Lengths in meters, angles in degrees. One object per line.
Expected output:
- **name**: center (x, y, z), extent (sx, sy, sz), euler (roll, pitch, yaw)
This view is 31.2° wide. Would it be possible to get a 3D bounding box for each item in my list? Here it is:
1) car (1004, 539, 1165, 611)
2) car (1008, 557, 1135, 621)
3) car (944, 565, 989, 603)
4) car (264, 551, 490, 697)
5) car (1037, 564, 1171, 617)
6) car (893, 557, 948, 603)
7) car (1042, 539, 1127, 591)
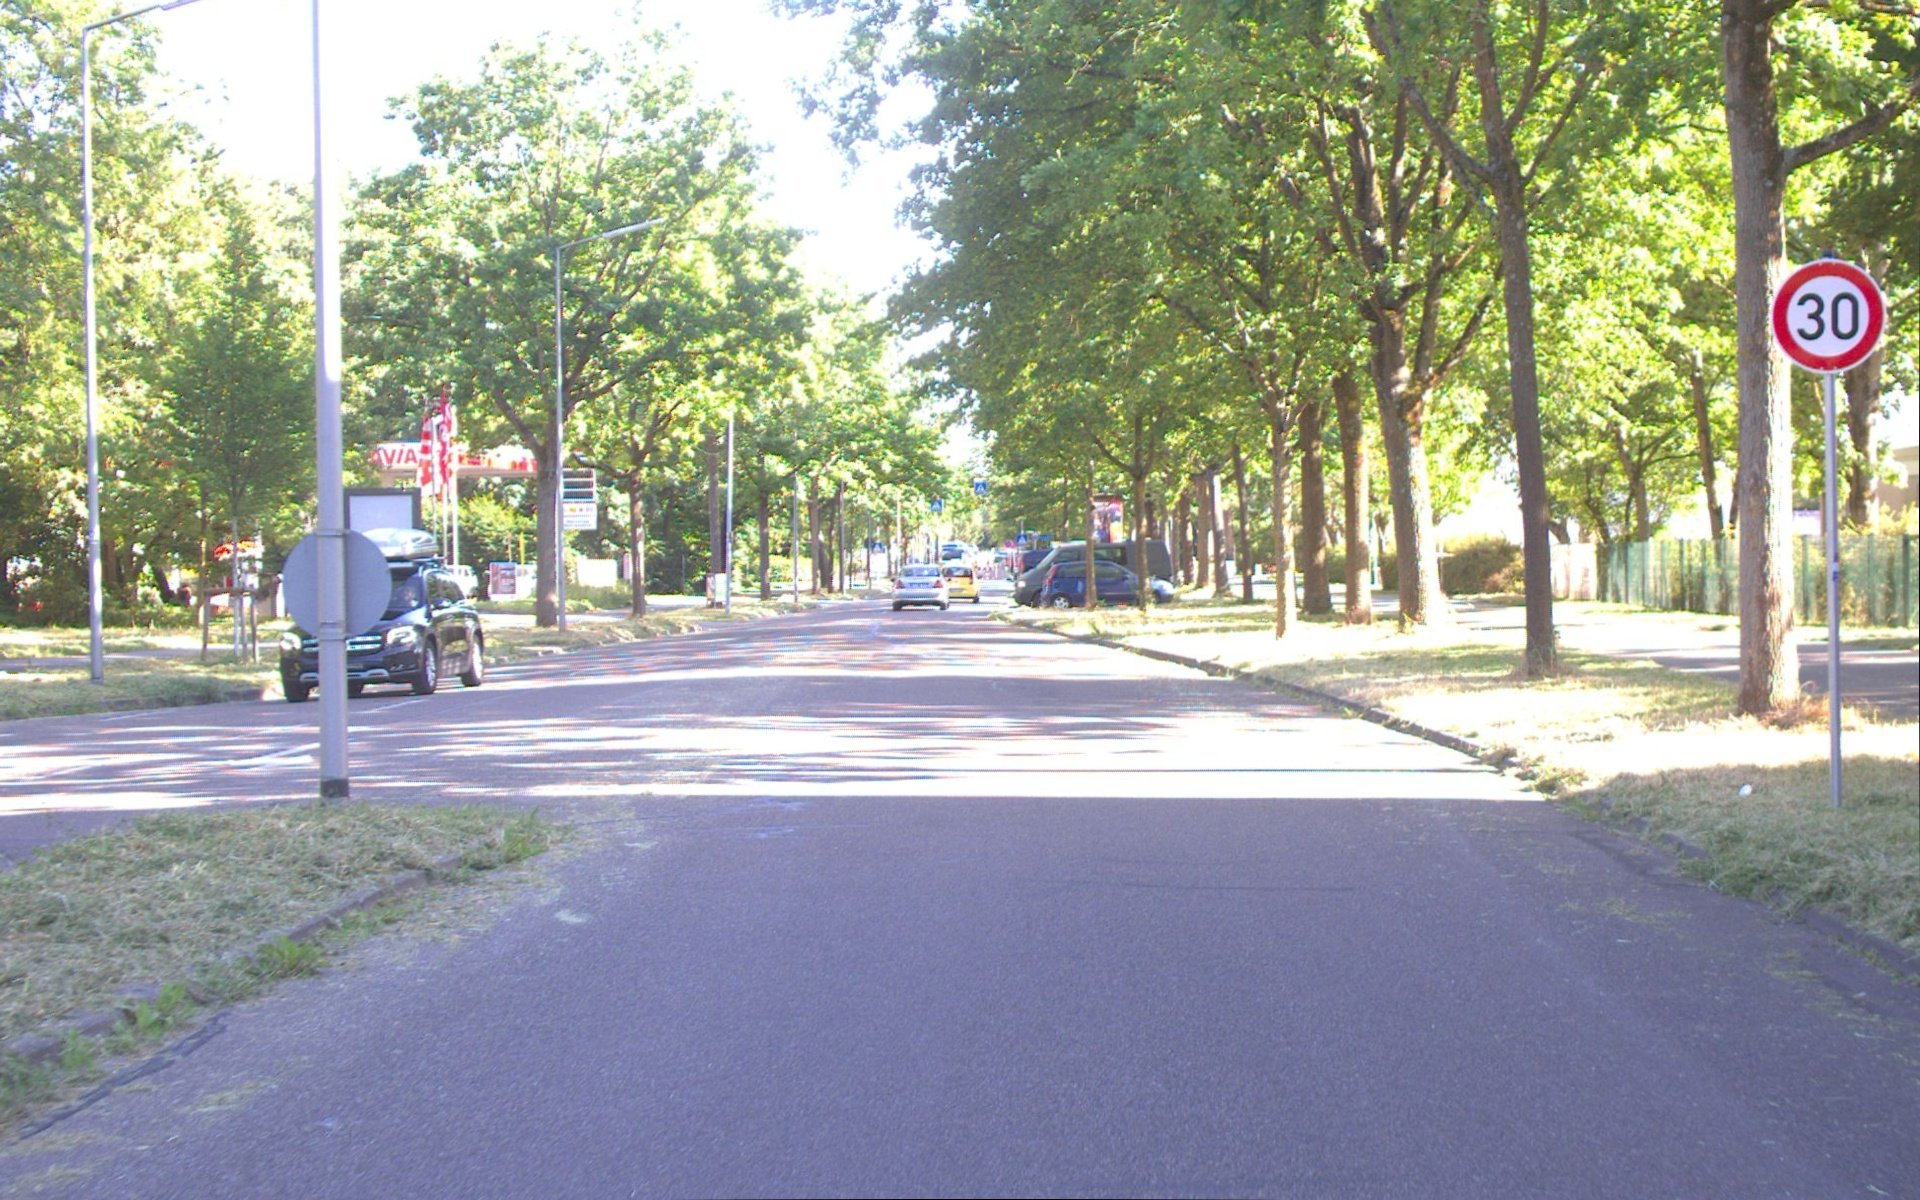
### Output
- **car**: center (3.552, -0.713, 98.754), extent (4.502, 1.946, 1.687), euler (-1, -1, 0)
- **car**: center (3.263, -0.312, 101.271), extent (3.653, 1.791, 1.317), euler (-1, -1, 0)
- **car**: center (0.240, -0.610, 133.062), extent (1.661, 1.332, 3.665), euler (-1, -1, 0)
- **car**: center (-7.320, 0.266, 43.583), extent (1.839, 1.702, 4.504), euler (-2, 0, 3)
- **car**: center (4.010, -0.259, 95.795), extent (3.653, 1.393, 1.317), euler (-1, -1, 0)
- **car**: center (-1.226, -0.624, 107.836), extent (1.661, 1.332, 3.665), euler (-1, -1, 0)
- **car**: center (5.381, -1.504, 148.385), extent (3.567, 2.044, 1.632), euler (-1, -3, 0)
